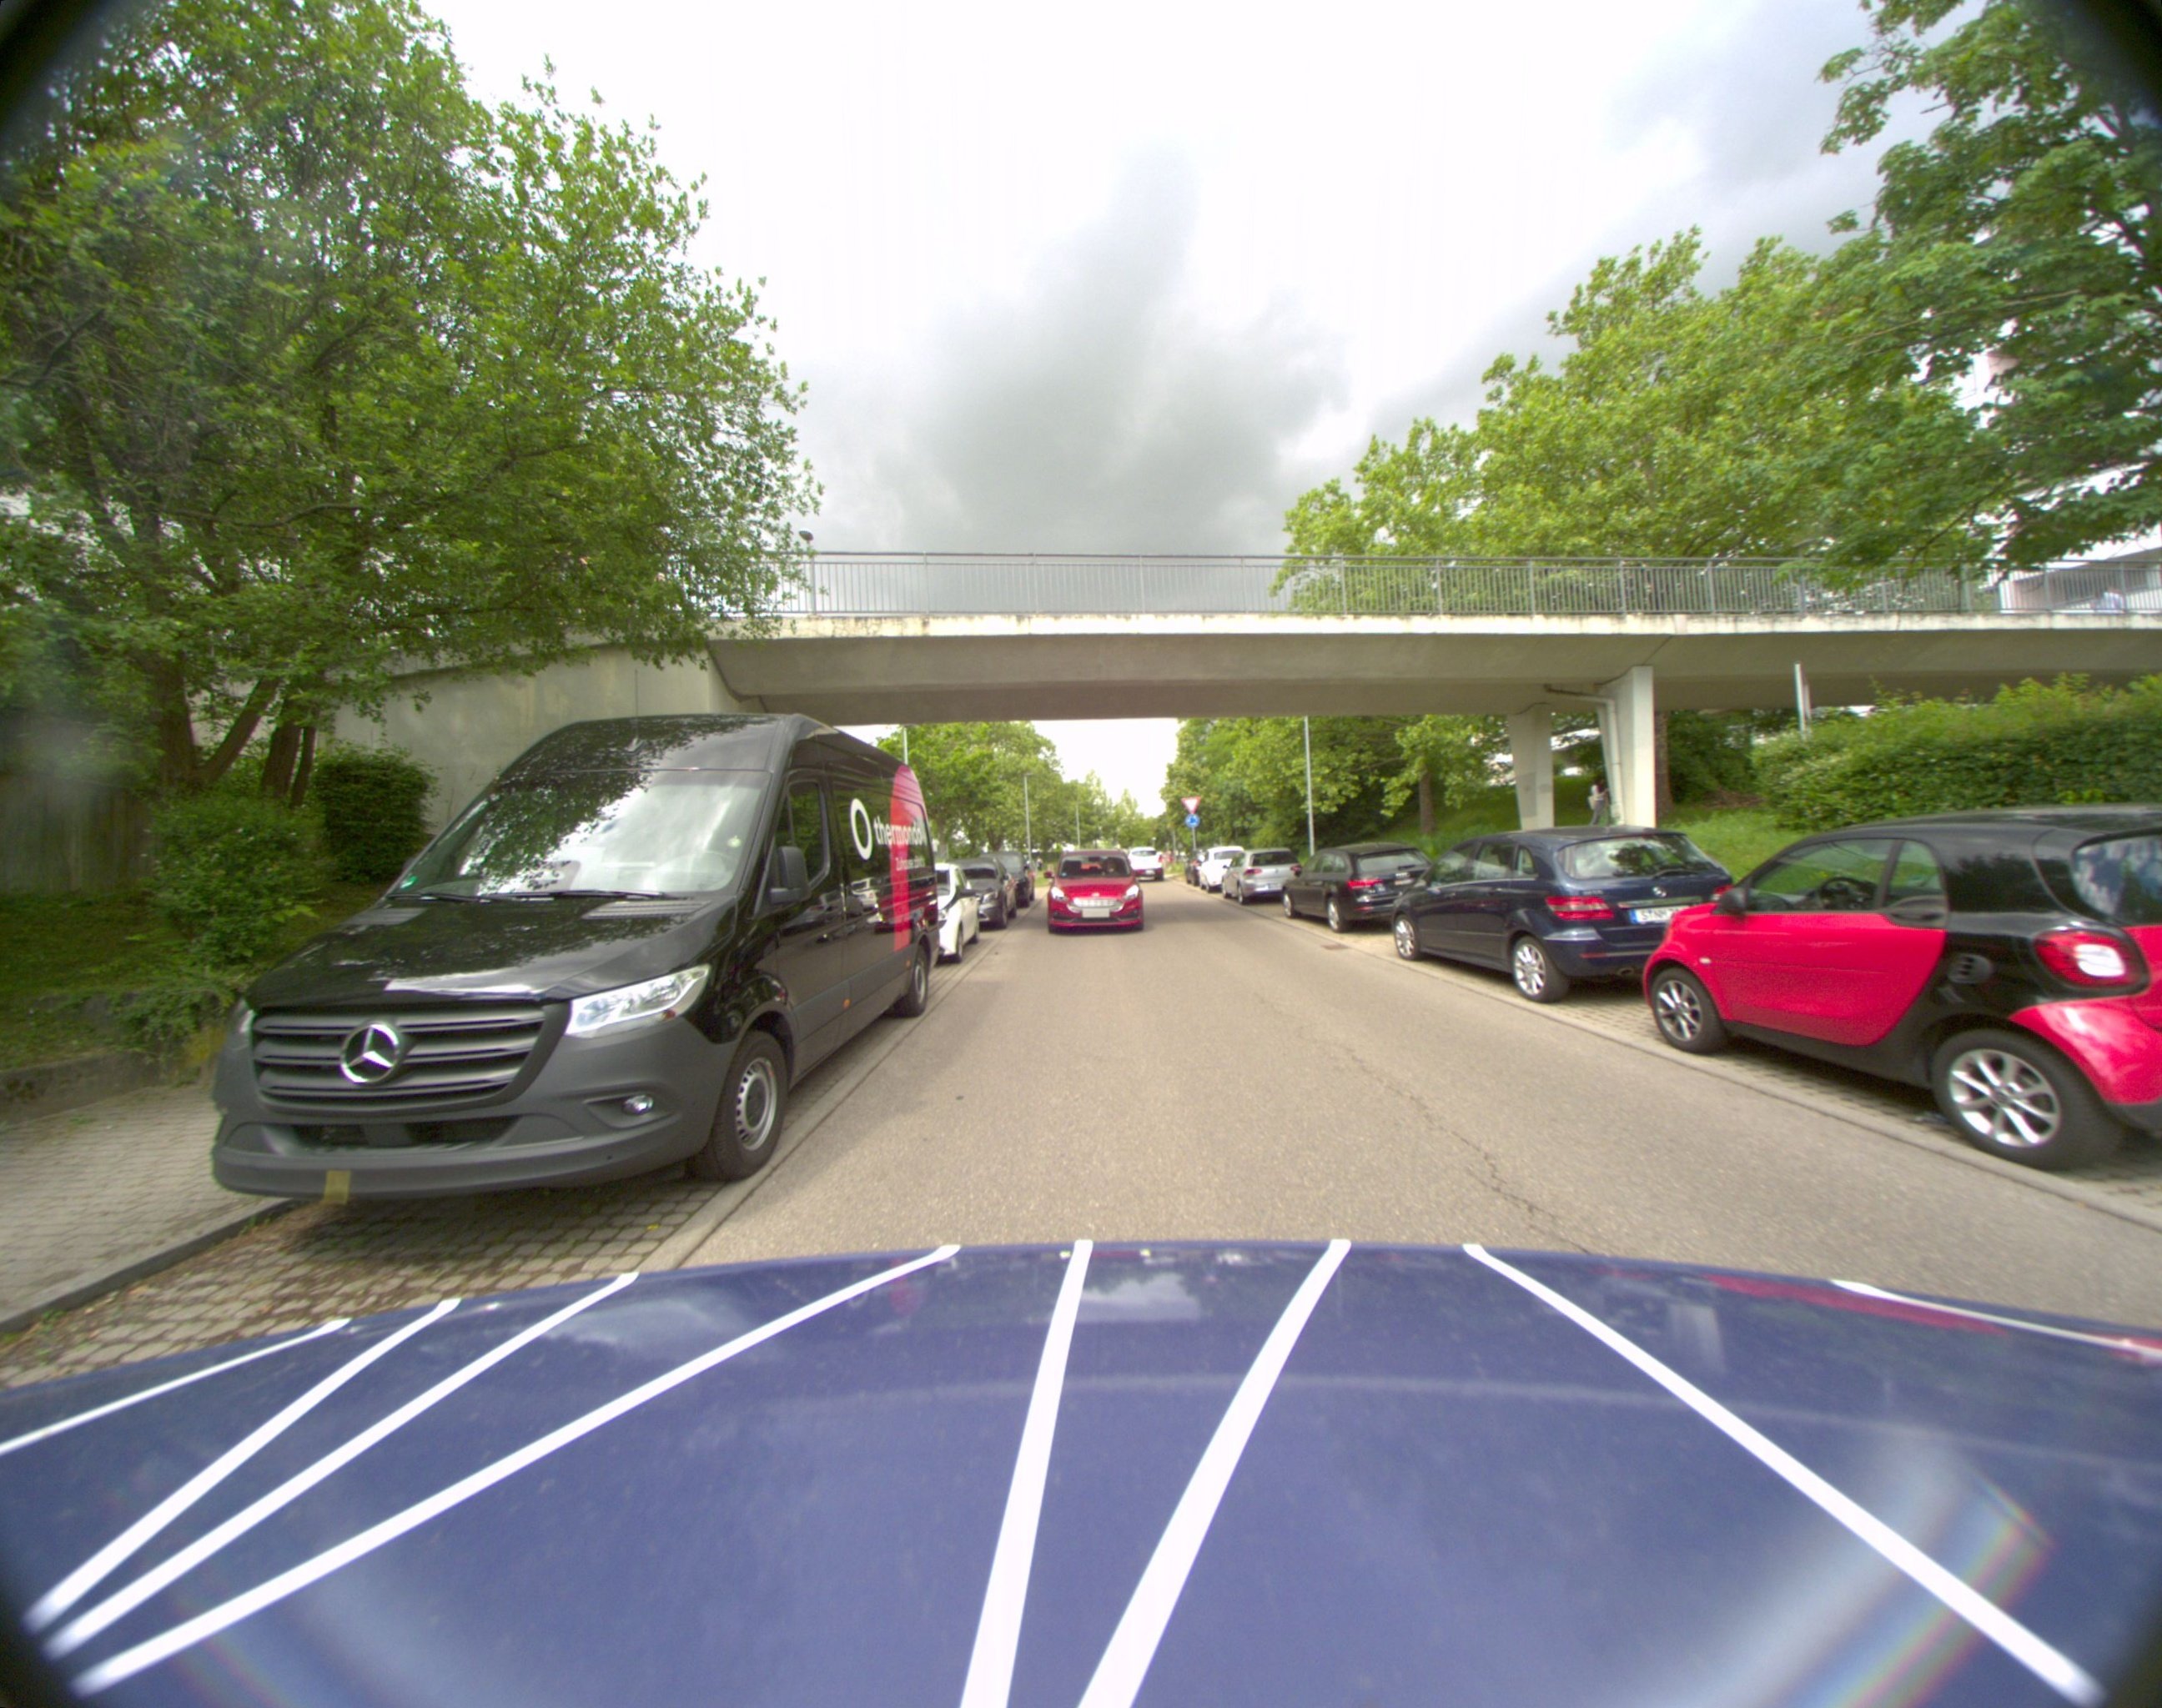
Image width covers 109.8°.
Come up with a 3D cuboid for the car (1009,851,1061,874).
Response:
[{"bbox_3d":[-3.323,0.629,55.748,1.711,1.521,3.788,-1,1,36],"label":"car"}]

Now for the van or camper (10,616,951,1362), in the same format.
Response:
[{"bbox_3d":[-2.520,0.437,5.456,1.998,2.481,5.757,-2,1,1],"label":"van or camper"}]

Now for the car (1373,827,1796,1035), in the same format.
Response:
[{"bbox_3d":[4.910,0.624,8.233,1.813,1.576,3.985,-4,0,-1],"label":"car"}]

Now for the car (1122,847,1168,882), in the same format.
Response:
[{"bbox_3d":[3.057,0.461,37.120,1.813,1.561,3.721,-2,1,-1],"label":"car"}]

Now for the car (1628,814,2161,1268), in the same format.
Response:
[{"bbox_3d":[4.777,0.658,4.136,1.598,1.576,2.685,-6,1,2],"label":"car"}]

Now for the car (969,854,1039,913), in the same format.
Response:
[{"bbox_3d":[-2.242,0.815,22.952,1.604,1.534,3.721,-2,1,1],"label":"car"}]

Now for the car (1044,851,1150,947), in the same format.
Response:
[{"bbox_3d":[0.311,0.781,15.286,1.813,1.600,3.721,-2,1,1],"label":"car"}]

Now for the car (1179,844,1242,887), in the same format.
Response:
[{"bbox_3d":[5.253,0.420,31.168,1.813,1.561,3.721,-2,1,-1],"label":"car"}]

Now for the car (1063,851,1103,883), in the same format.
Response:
[{"bbox_3d":[0.119,0.684,38.888,1.861,1.433,4.001,-3,-2,1],"label":"car"}]

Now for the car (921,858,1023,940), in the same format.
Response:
[{"bbox_3d":[-2.289,0.899,16.800,1.604,1.478,3.721,-2,1,1],"label":"car"}]

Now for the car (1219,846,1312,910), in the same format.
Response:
[{"bbox_3d":[5.037,0.594,21.221,1.812,1.447,3.861,-5,1,5],"label":"car"}]

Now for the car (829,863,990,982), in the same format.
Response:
[{"bbox_3d":[-2.504,0.939,11.978,1.586,1.441,3.721,-2,1,1],"label":"car"}]

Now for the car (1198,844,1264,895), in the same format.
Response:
[{"bbox_3d":[5.174,0.484,26.616,1.812,1.561,3.723,-2,1,5],"label":"car"}]

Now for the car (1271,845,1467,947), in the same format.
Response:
[{"bbox_3d":[5.089,0.631,14.167,1.813,1.472,4.485,-4,1,-1],"label":"car"}]
